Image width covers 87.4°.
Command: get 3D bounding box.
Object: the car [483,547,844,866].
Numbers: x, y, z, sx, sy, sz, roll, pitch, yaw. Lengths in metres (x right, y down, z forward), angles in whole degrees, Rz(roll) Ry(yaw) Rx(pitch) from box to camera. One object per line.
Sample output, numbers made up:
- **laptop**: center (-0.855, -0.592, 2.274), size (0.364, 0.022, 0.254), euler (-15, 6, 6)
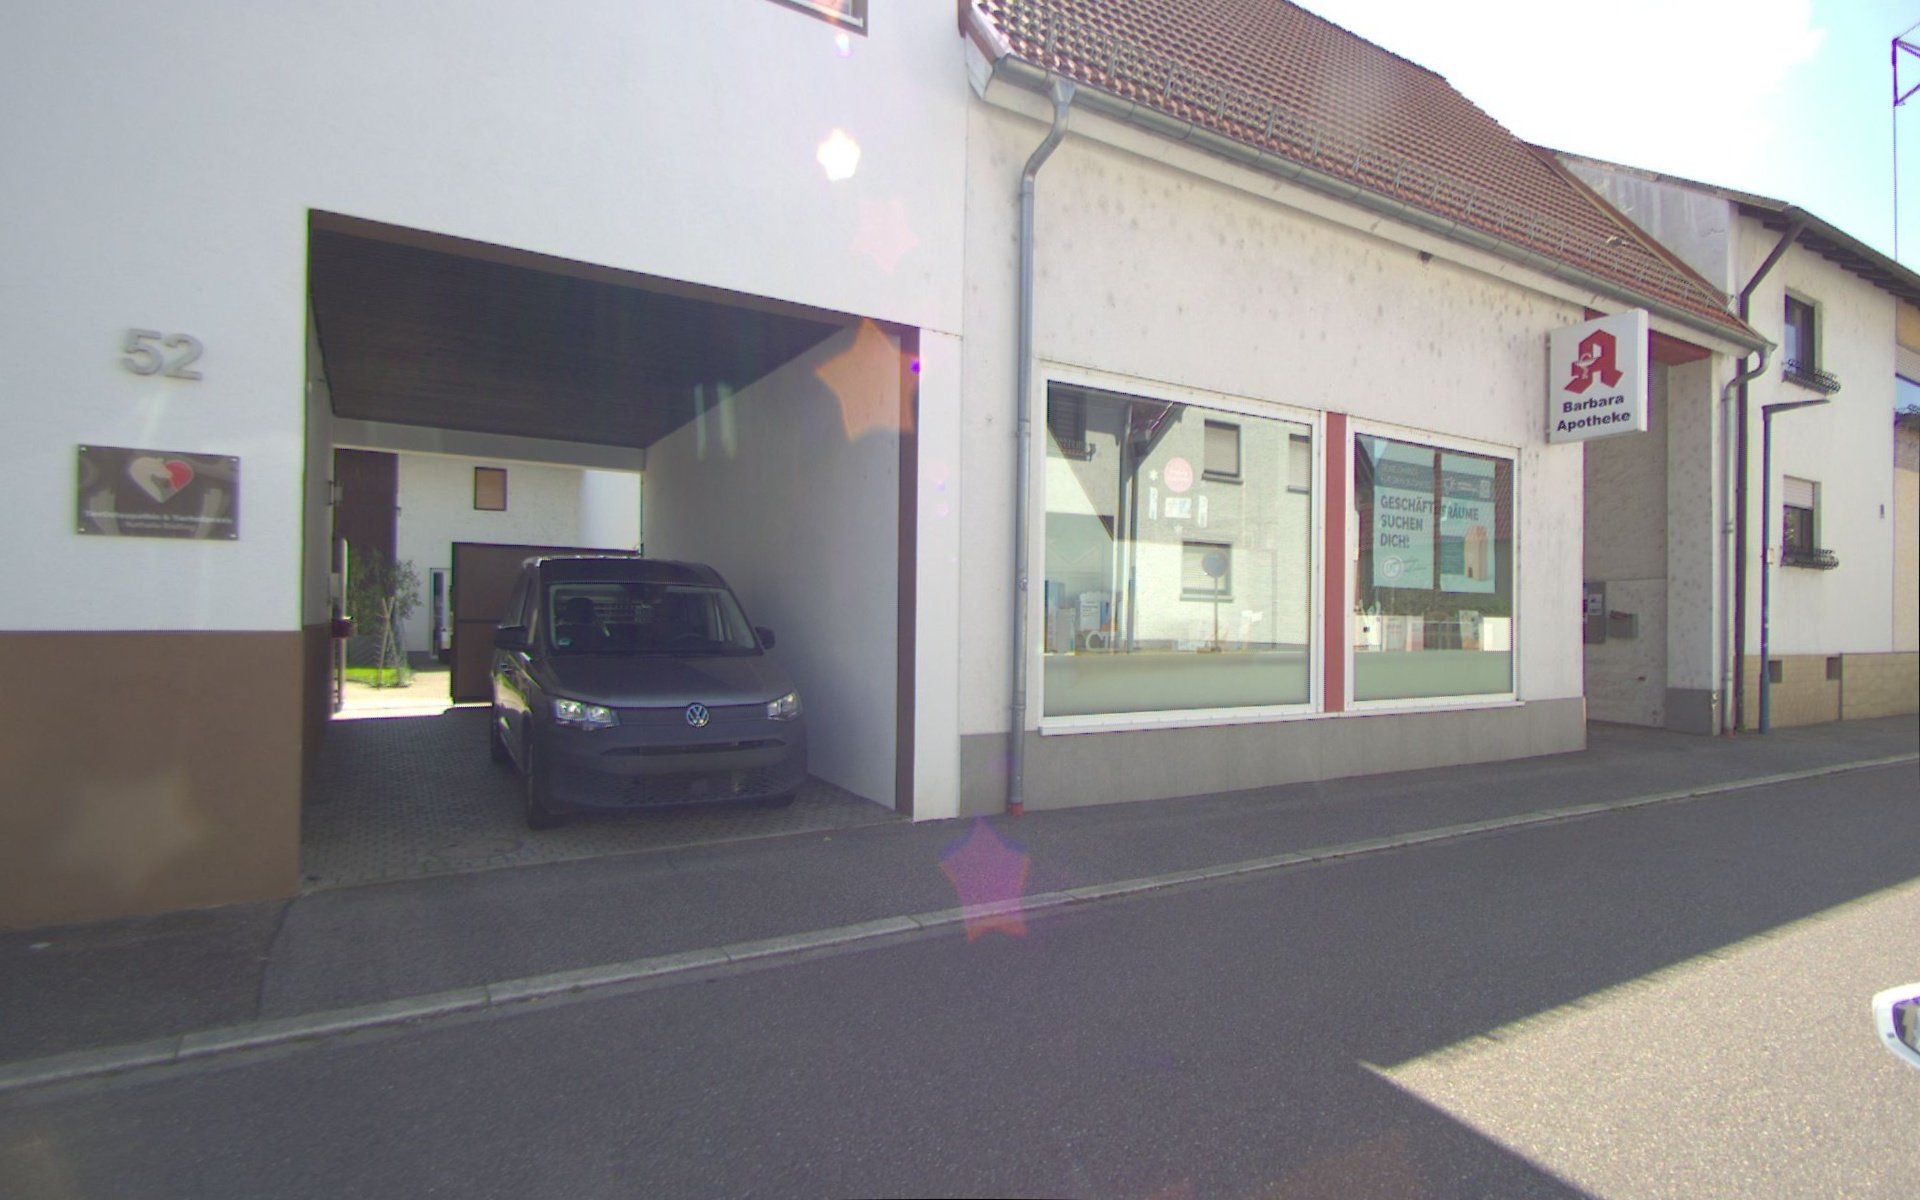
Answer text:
- **car**: center (-2.497, 0.544, 7.661), size (1.792, 1.741, 3.968), euler (1, 1, -29)
